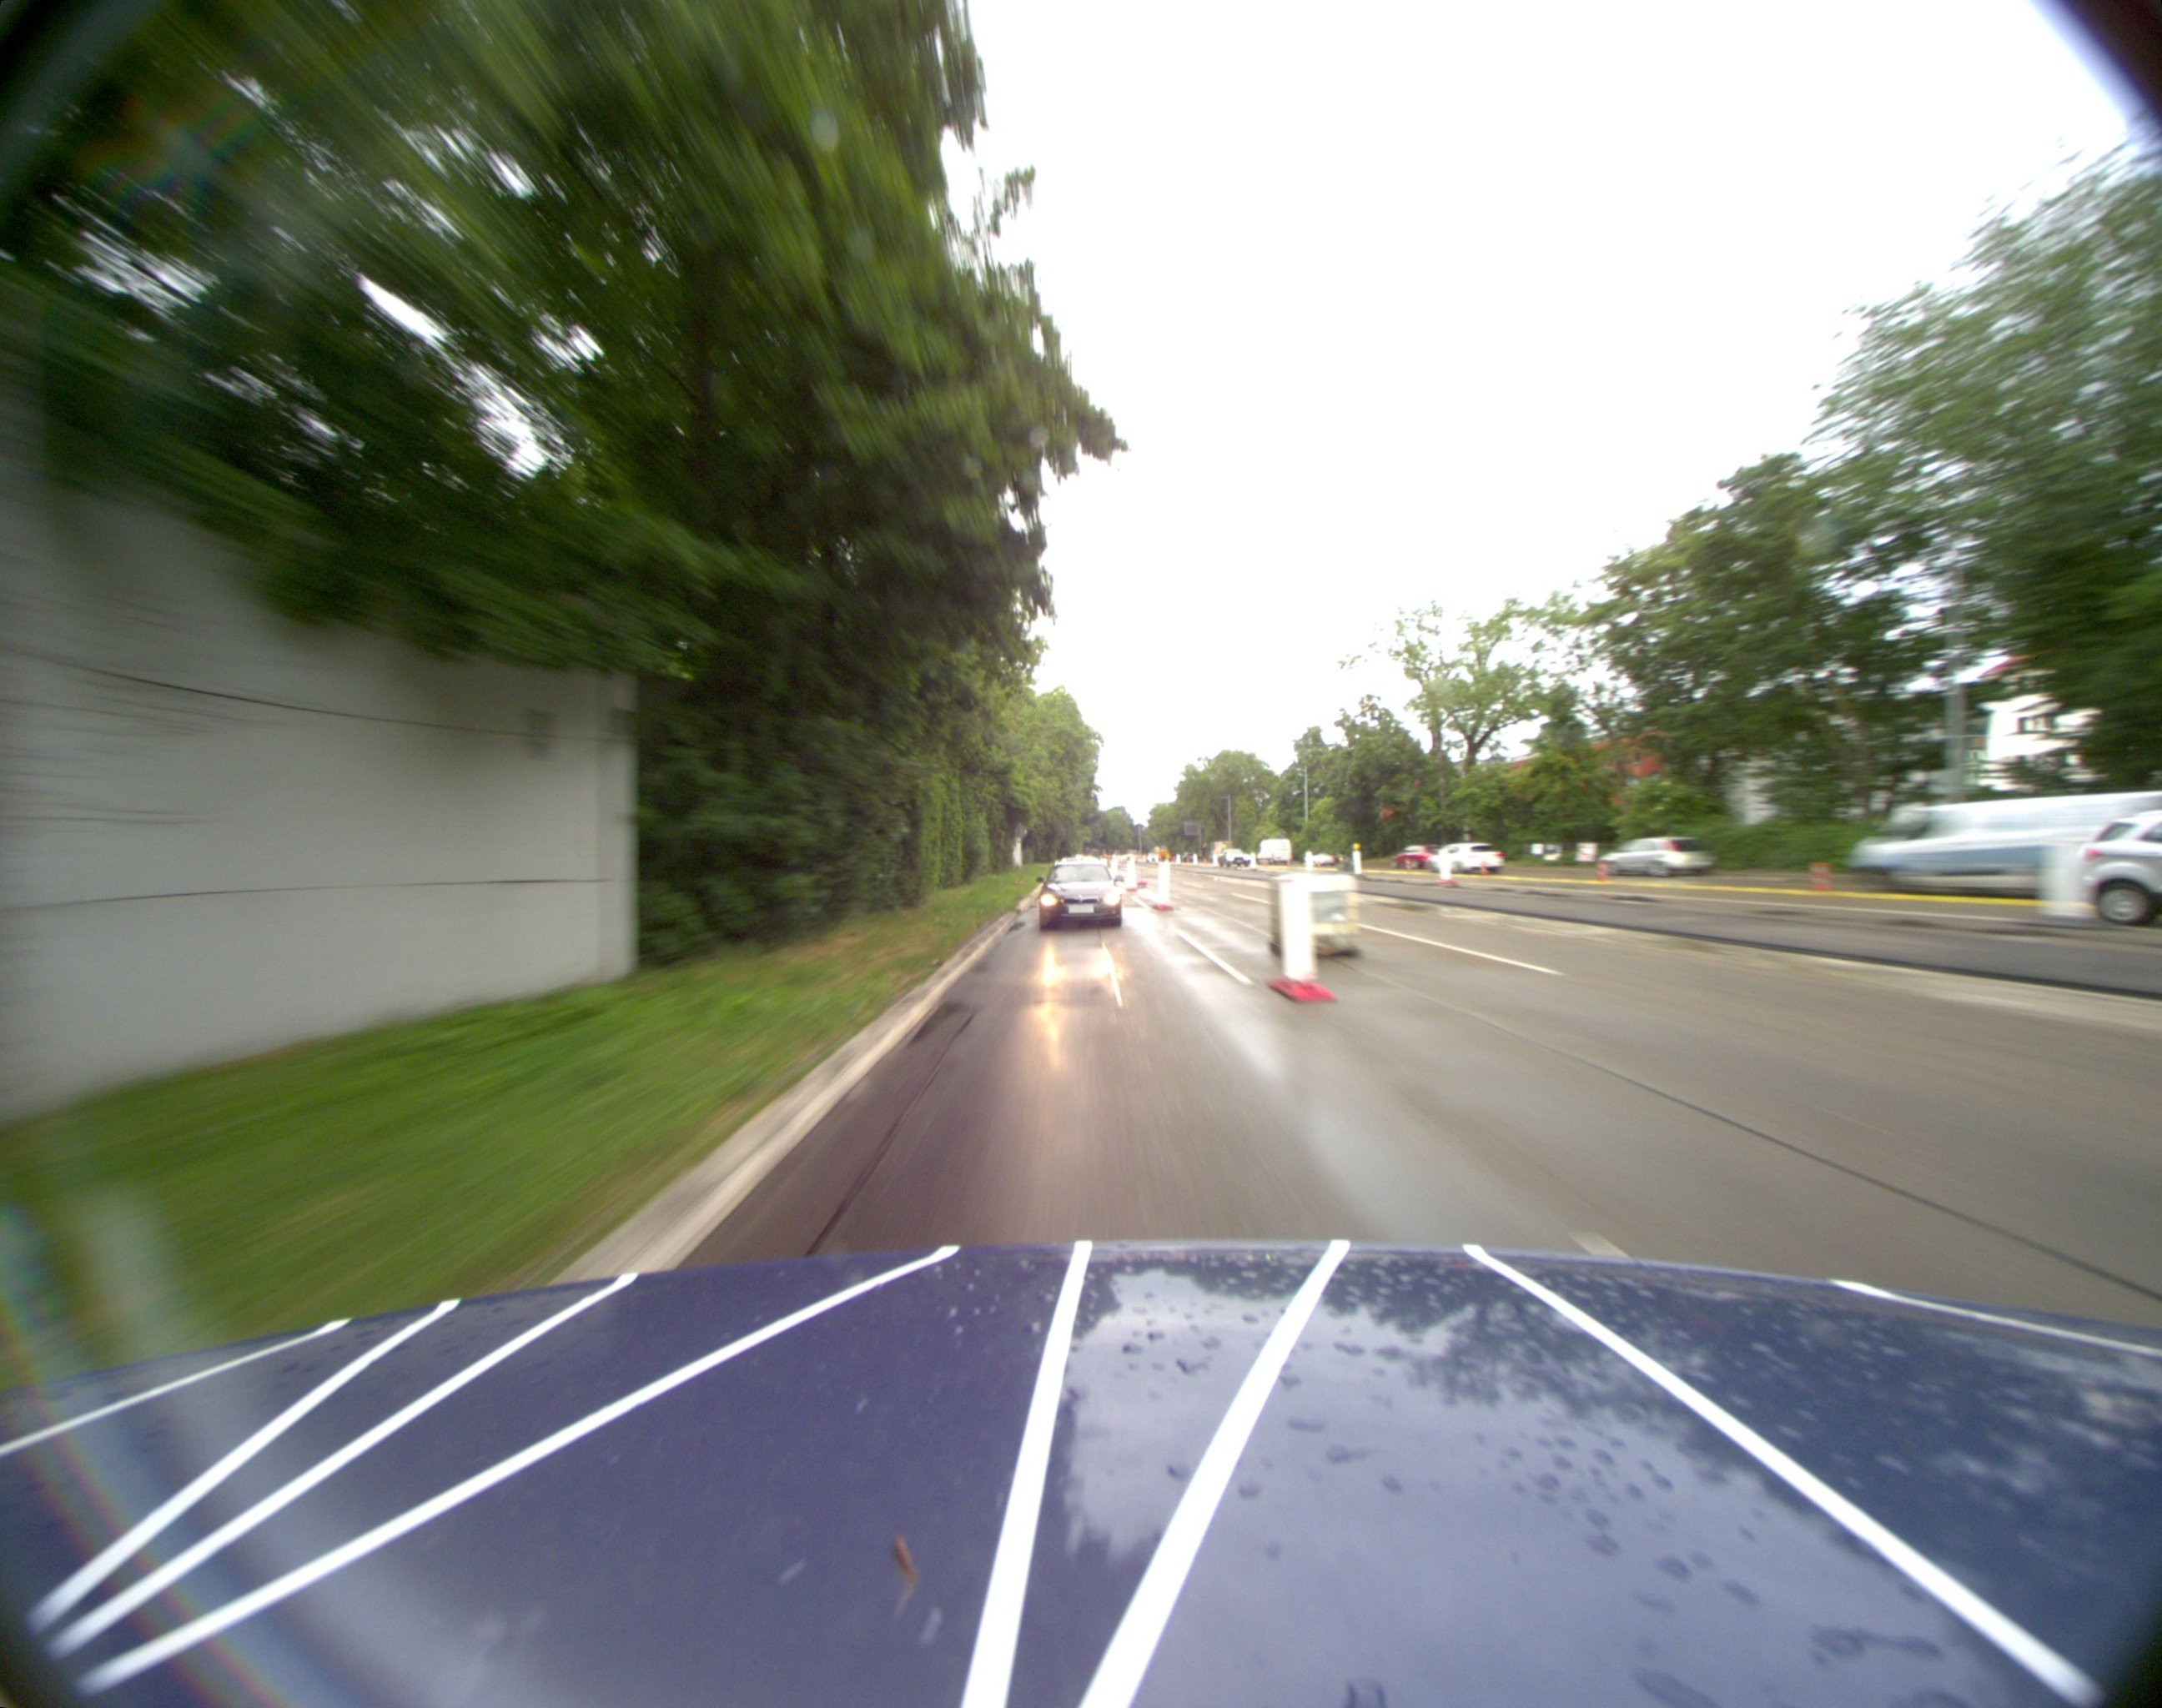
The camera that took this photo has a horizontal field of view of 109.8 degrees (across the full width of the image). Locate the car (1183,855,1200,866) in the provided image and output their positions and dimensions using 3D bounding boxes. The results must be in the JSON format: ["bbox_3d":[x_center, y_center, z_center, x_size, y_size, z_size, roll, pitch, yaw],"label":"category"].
[{"bbox_3d":[17.497,1.016,120.299,1.999,1.684,4.806,-1,0,-1],"label":"car"}]

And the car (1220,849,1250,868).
[{"bbox_3d":[14.471,0.414,71.704,1.998,1.619,4.812,-2,0,3],"label":"car"}]

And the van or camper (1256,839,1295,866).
[{"bbox_3d":[20.353,-0.180,80.010,1.998,2.540,7.729,-3,0,0],"label":"van or camper"}]

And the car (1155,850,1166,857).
[{"bbox_3d":[18.531,-0.127,177.717,1.893,1.543,4.397,-2,0,-1],"label":"car"}]

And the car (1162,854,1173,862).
[{"bbox_3d":[17.090,0.830,150.216,1.691,1.434,4.107,-2,0,1],"label":"car"}]

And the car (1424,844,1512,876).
[{"bbox_3d":[18.467,0.252,36.483,1.998,1.407,4.393,-1,0,0],"label":"car"}]

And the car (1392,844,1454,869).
[{"bbox_3d":[21.111,0.153,47.142,1.733,1.467,4.486,-1,0,-1],"label":"car"}]

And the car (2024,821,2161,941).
[{"bbox_3d":[15.298,0.329,9.353,1.893,1.555,4.363,-3,0,-1],"label":"car"}]

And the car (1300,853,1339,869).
[{"bbox_3d":[20.434,0.597,65.182,1.694,1.176,3.998,-3,0,-7],"label":"car"}]

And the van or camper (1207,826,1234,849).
[{"bbox_3d":[20.031,-2.302,109.465,2.303,3.045,7.451,-2,0,-1],"label":"van or camper"}]

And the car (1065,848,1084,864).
[{"bbox_3d":[-0.698,0.232,88.422,1.998,1.707,4.000,-1,1,1],"label":"car"}]

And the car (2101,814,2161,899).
[{"bbox_3d":[21.589,0.015,13.386,1.832,1.612,3.999,-3,1,0],"label":"car"}]

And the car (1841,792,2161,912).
[{"bbox_3d":[18.482,-0.066,14.968,1.999,1.960,4.902,-2,0,-2],"label":"car"}]

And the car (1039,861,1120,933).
[{"bbox_3d":[-0.057,0.905,17.626,1.658,1.409,4.128,-1,0,-1],"label":"car"}]

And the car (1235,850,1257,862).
[{"bbox_3d":[19.808,0.208,91.267,1.720,1.357,4.081,-1,0,-1],"label":"car"}]

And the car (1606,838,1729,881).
[{"bbox_3d":[21.363,0.187,27.868,1.683,1.392,3.639,-2,0,1],"label":"car"}]
